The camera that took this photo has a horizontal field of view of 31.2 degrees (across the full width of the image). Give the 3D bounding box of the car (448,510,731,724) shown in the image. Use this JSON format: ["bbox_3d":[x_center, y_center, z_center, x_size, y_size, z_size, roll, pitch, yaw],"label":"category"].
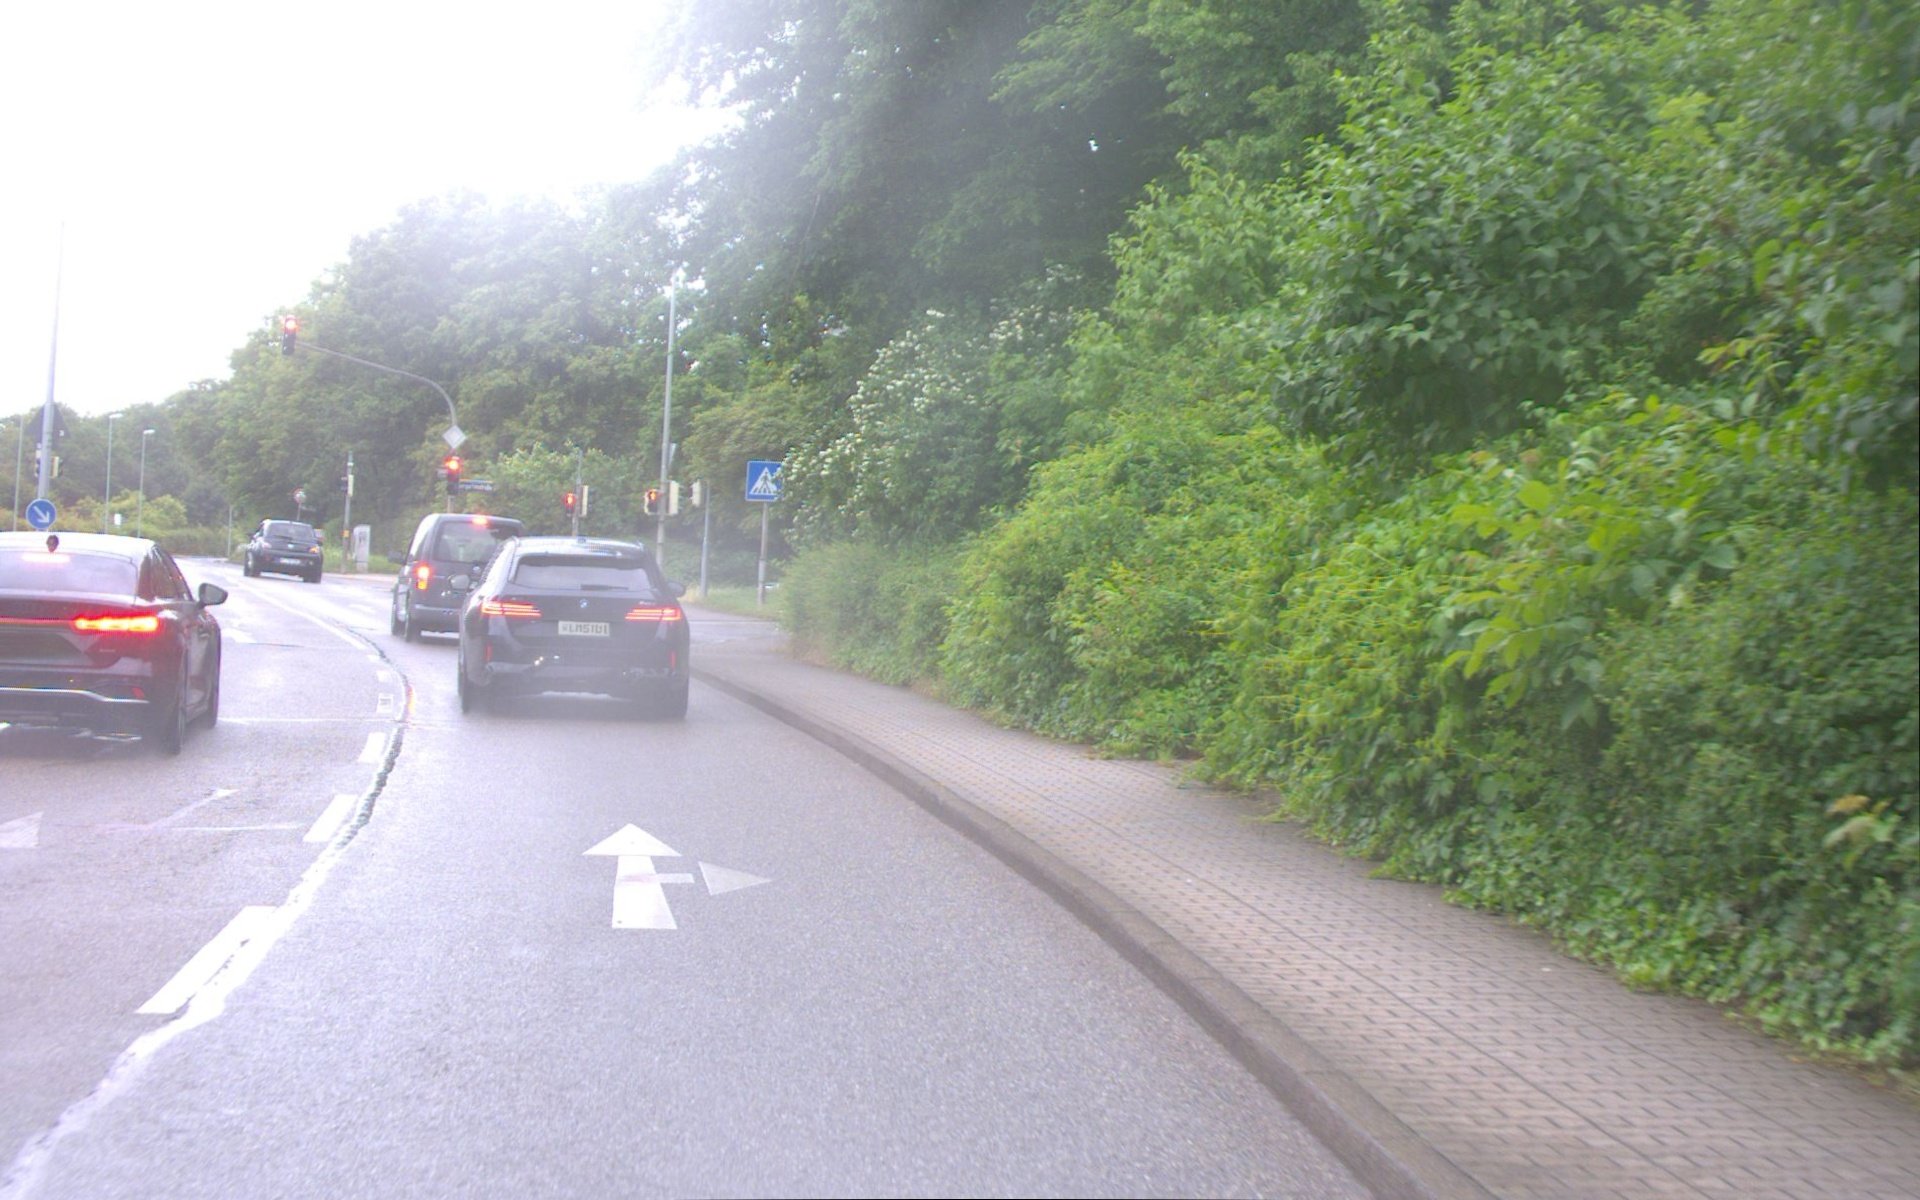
[{"bbox_3d":[-3.322,0.087,30.043,1.993,1.580,4.665,2,2,-11],"label":"car"}]

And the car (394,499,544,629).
[{"bbox_3d":[-7.032,-0.506,48.987,1.993,1.743,4.001,1,0,-10],"label":"car"}]

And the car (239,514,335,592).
[{"bbox_3d":[-16.661,-1.142,84.987,1.850,1.656,4.001,3,-3,-17],"label":"car"}]

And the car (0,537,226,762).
[{"bbox_3d":[-6.179,0.270,24.013,1.905,1.393,4.858,0,1,-10],"label":"car"}]
